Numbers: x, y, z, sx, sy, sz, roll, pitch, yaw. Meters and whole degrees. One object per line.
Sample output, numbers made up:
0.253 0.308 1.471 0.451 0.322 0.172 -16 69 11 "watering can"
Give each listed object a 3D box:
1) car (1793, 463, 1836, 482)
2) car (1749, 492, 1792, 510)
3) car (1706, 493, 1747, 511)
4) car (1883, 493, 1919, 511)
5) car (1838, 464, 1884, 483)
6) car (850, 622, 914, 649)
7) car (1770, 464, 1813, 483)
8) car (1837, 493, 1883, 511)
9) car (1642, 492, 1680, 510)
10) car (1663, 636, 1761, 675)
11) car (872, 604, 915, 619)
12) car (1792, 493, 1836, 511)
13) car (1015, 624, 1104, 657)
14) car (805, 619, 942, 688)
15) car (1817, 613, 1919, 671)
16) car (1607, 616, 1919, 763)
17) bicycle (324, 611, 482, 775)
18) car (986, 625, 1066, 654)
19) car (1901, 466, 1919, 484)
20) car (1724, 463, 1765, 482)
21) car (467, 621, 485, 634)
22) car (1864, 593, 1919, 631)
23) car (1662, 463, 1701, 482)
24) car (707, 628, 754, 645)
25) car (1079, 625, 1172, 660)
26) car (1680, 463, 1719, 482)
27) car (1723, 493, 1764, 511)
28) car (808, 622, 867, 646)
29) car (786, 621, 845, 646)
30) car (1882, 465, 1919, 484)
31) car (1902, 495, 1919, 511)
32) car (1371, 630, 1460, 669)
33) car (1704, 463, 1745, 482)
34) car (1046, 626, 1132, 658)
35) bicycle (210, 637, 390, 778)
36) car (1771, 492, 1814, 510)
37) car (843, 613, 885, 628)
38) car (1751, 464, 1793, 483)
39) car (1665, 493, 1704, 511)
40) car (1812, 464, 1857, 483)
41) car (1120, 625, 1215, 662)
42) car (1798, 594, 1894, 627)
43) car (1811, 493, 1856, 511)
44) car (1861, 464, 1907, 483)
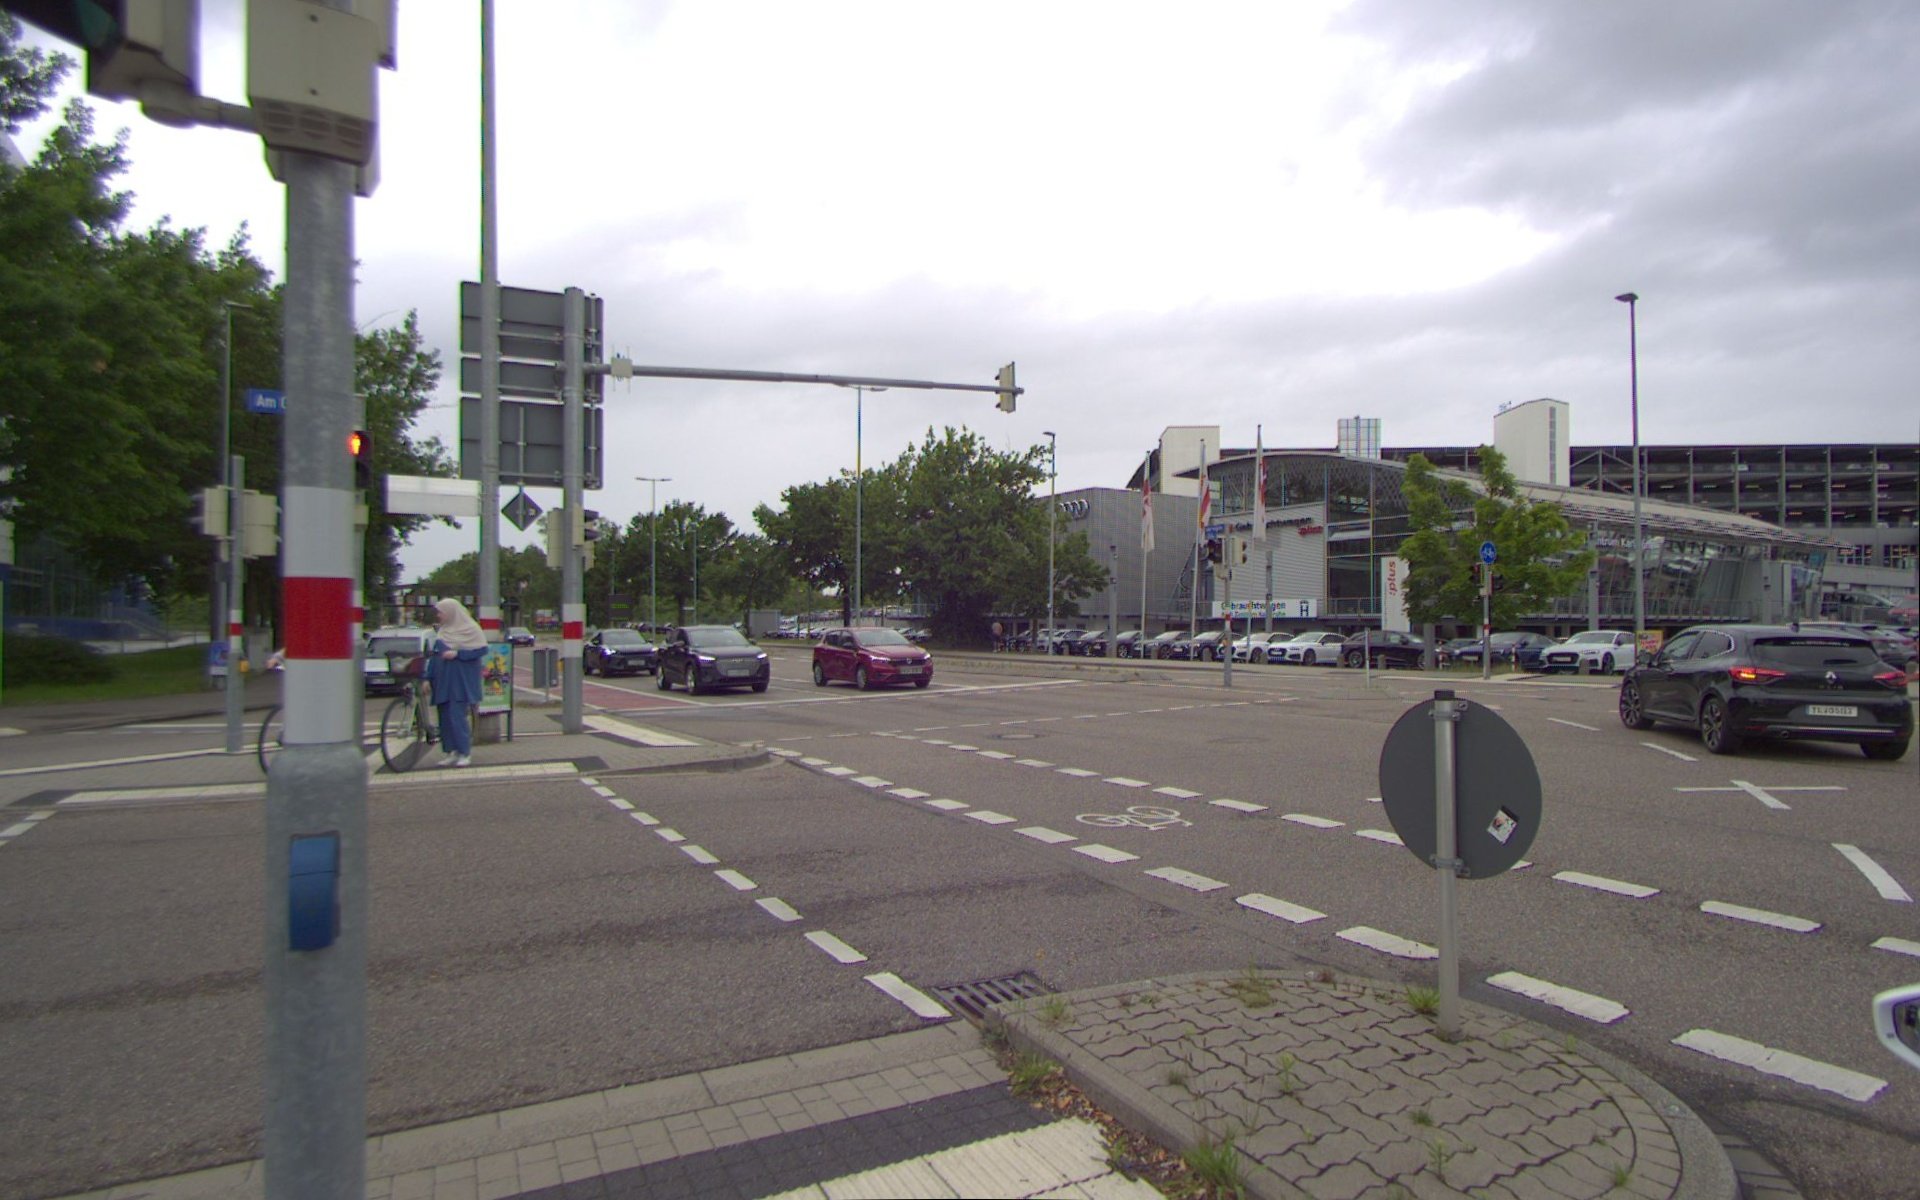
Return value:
101.730 -15.122 119.638 1.960 1.689 4.002 1 -1 4 "car"
96.644 -11.752 119.814 1.960 1.689 4.002 1 -1 4 "car"
91.658 -11.686 120.194 1.960 1.689 4.002 1 -1 4 "car"
112.079 -11.555 118.954 1.960 1.689 4.002 1 -1 4 "car"
106.916 -15.010 119.238 1.960 1.689 4.002 1 -1 4 "car"
-5.696 2.560 73.166 4.166 1.505 1.942 7 -3 -32 "car"
99.098 -15.035 119.781 1.960 1.689 4.002 1 -1 4 "car"
106.704 -11.651 119.130 1.960 1.689 4.002 1 -1 4 "car"
84.041 -11.806 120.494 1.960 1.689 4.002 1 -1 4 "car"
41.407 3.040 55.378 1.741 1.862 3.963 2 0 -33 "car"
-7.188 1.263 108.488 4.304 1.516 1.864 3 0 -33 "car"
101.597 -11.684 119.512 1.960 1.689 4.002 1 -1 4 "car"
5.381 2.201 54.105 4.615 1.491 1.831 5 -3 -32 "car"
-2.210 1.277 24.630 1.721 1.507 4.045 -1 -2 -31 "car"
34.143 1.530 36.091 1.980 2.040 4.744 2 -4 -34 "car"
9.552 0.940 12.258 1.727 1.453 4.001 1 -1 17 "car"
-5.323 0.844 9.737 0.586 1.414 1.933 -1 -2 -5 "bicycle"
3.715 2.218 56.445 4.173 1.439 1.839 4 -3 -32 "car"
114.543 -14.921 119.314 1.960 1.689 4.002 1 -1 4 "car"
93.770 -15.217 120.098 1.960 1.689 4.002 1 -1 4 "car"
-73.921 4.181 153.415 2.117 1.684 3.752 2 0 -29 "car"
49.752 0.654 53.012 3.956 1.873 1.983 2 0 -32 "car"
86.538 -15.238 120.530 1.960 1.689 4.002 1 -1 4 "car"
-23.640 3.753 103.529 4.411 1.592 1.982 1 -1 -33 "car"
8.175 2.089 49.543 4.333 1.489 1.878 5 -3 -32 "car"
88.760 -15.304 120.638 1.960 1.689 4.002 1 -1 4 "car"
93.873 -11.735 120.386 1.960 1.689 4.002 1 -1 4 "car"
-9.752 2.696 79.803 4.143 1.475 1.918 7 -3 -31 "car"
-12.123 2.809 84.368 4.361 1.539 1.983 8 -3 -31 "car"
112.365 -14.924 119.398 1.960 1.689 4.002 1 -1 4 "car"
114.298 -11.553 118.875 1.960 1.689 4.002 1 -1 4 "car"
21.765 2.379 47.992 4.271 1.718 1.795 2 0 -32 "car"
91.569 -15.300 120.349 1.960 1.689 4.002 1 -1 4 "car"
6.680 2.151 51.838 4.123 1.409 1.886 5 -3 -32 "car"
-6.162 0.960 9.514 0.499 1.181 1.946 3 -3 -5 "bicycle"
99.098 -11.724 119.632 1.960 1.689 4.002 1 -1 4 "car"
-10.774 2.293 113.159 4.304 1.516 1.952 3 0 -33 "car"
96.827 -15.123 119.855 1.960 1.689 4.002 1 -1 4 "car"
86.634 -11.709 120.097 1.960 1.689 4.002 1 -1 4 "car"
103.896 -15.032 119.361 1.960 1.689 4.002 1 -1 4 "car"
9.717 2.027 46.935 4.146 1.505 1.892 5 -3 -32 "car"
53.356 0.591 60.565 1.739 1.862 3.967 2 0 -30 "car"
103.738 -11.629 119.347 1.960 1.689 4.002 1 -1 4 "car"
109.533 -14.992 119.118 1.960 1.689 4.002 1 -1 4 "car"
